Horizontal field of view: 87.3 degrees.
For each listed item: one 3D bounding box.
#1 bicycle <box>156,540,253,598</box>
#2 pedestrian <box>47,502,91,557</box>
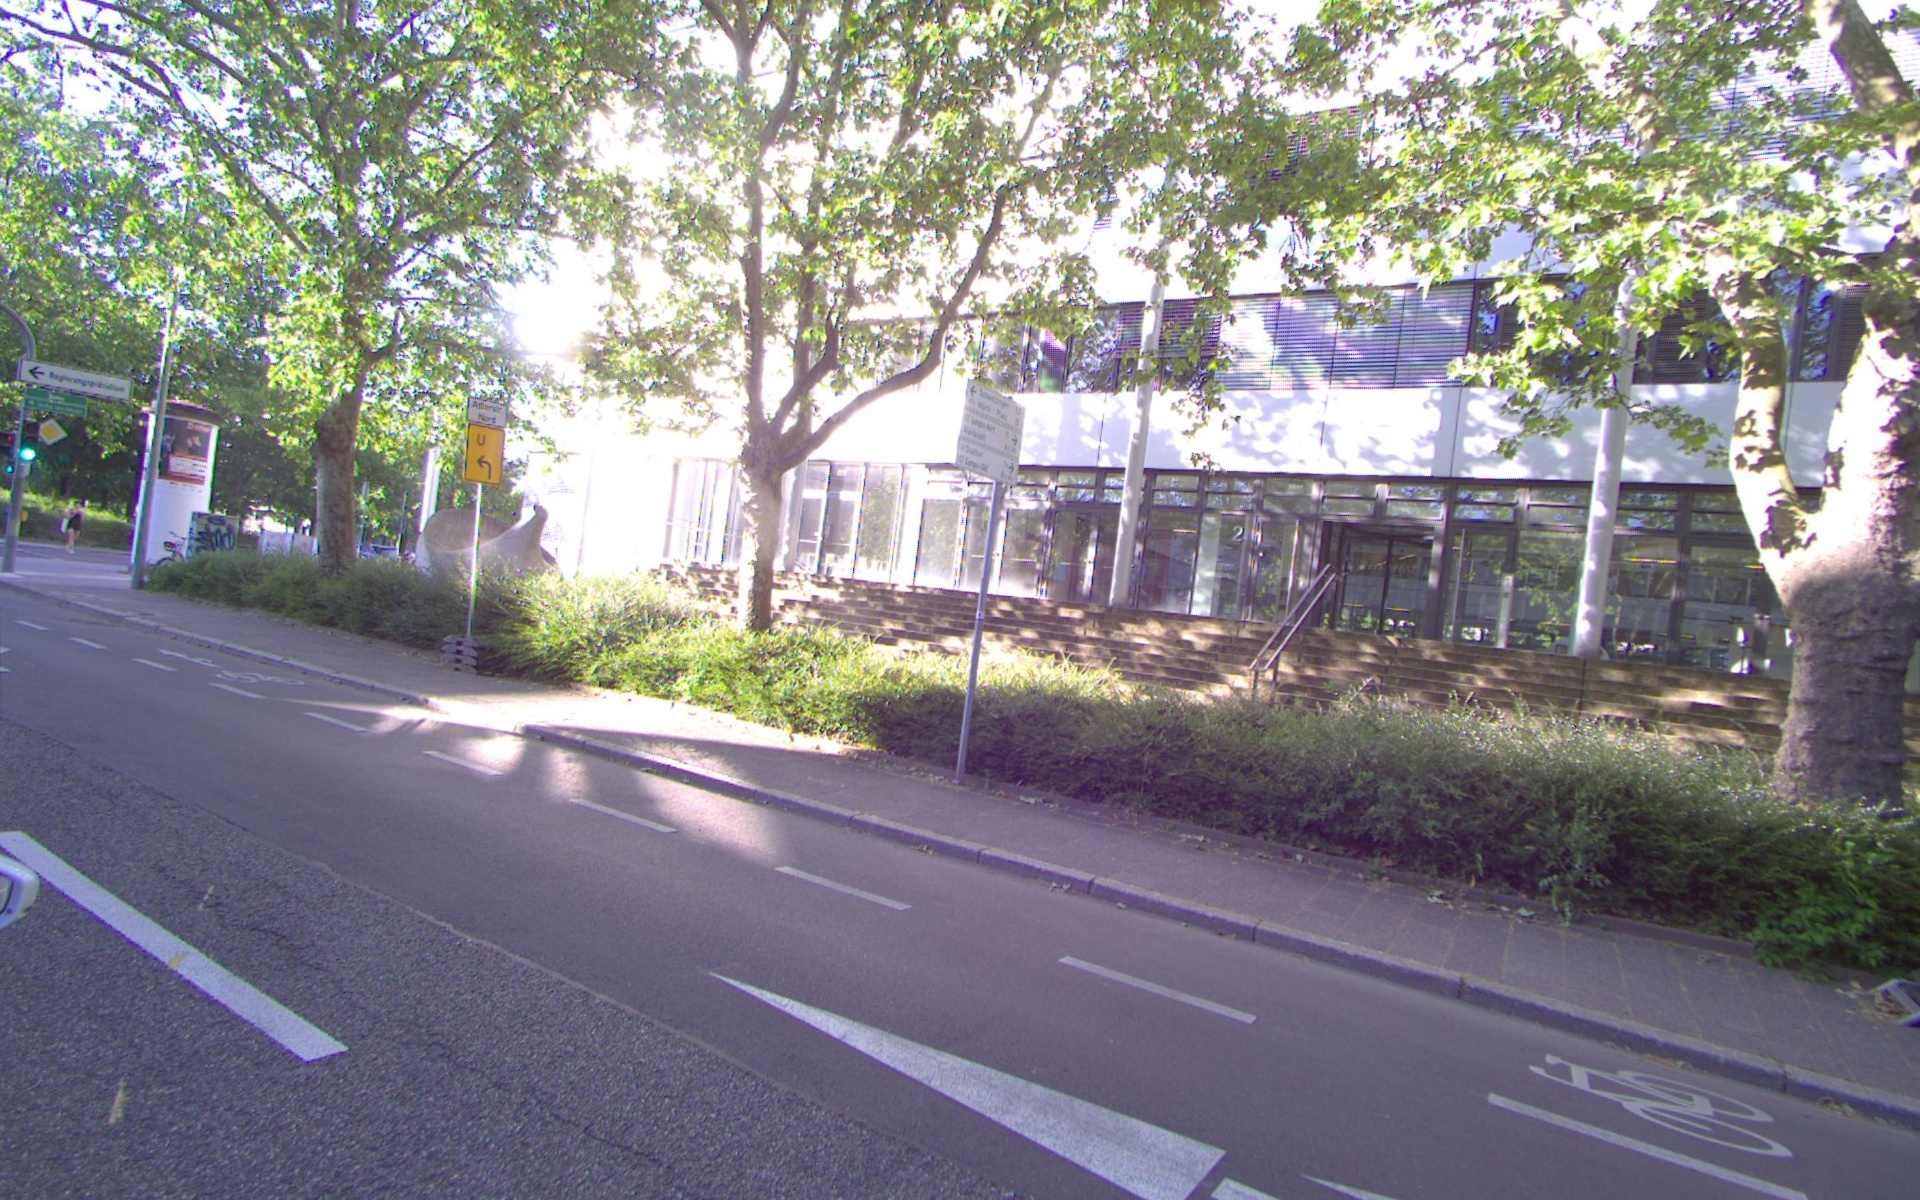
[{"bbox_3d":[-15.910,-0.630,21.249,0.631,1.040,1.887,7,-2,-5],"label":"bicycle"},{"bbox_3d":[-27.485,-2.166,31.037,0.895,1.563,0.636,6,-1,33],"label":"pedestrian"}]
